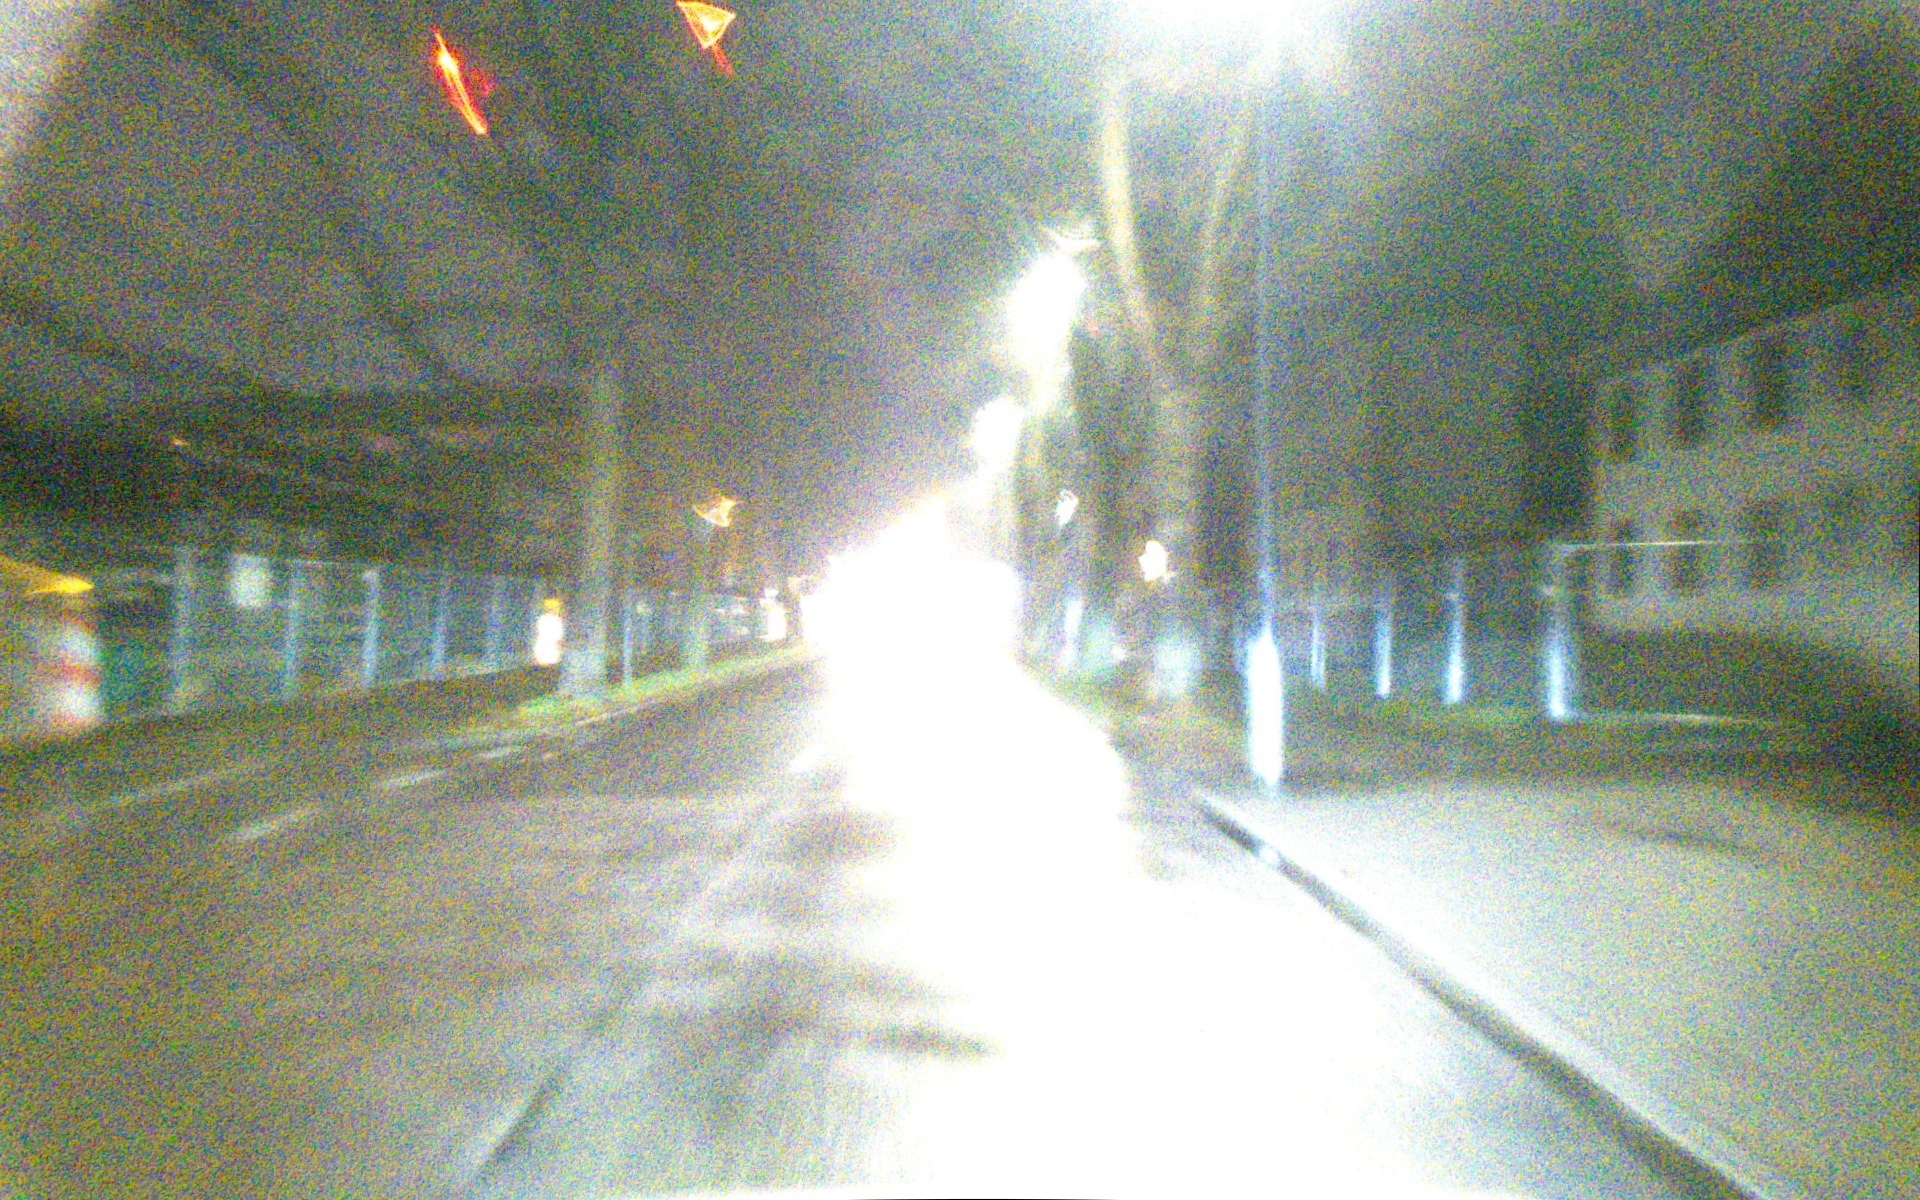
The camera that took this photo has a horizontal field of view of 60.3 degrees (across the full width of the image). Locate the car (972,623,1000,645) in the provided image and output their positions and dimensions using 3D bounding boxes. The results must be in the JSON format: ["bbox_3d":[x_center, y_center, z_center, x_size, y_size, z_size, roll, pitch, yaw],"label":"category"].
[{"bbox_3d":[1.858,2.398,118.788,1.679,1.515,4.433,0,0,-4],"label":"car"}]

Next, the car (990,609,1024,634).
[{"bbox_3d":[3.063,1.389,107.992,1.754,1.474,4.787,-2,0,-4],"label":"car"}]

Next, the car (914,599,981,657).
[{"bbox_3d":[-0.445,0.855,52.429,1.954,1.713,3.998,1,0,-3],"label":"car"}]
